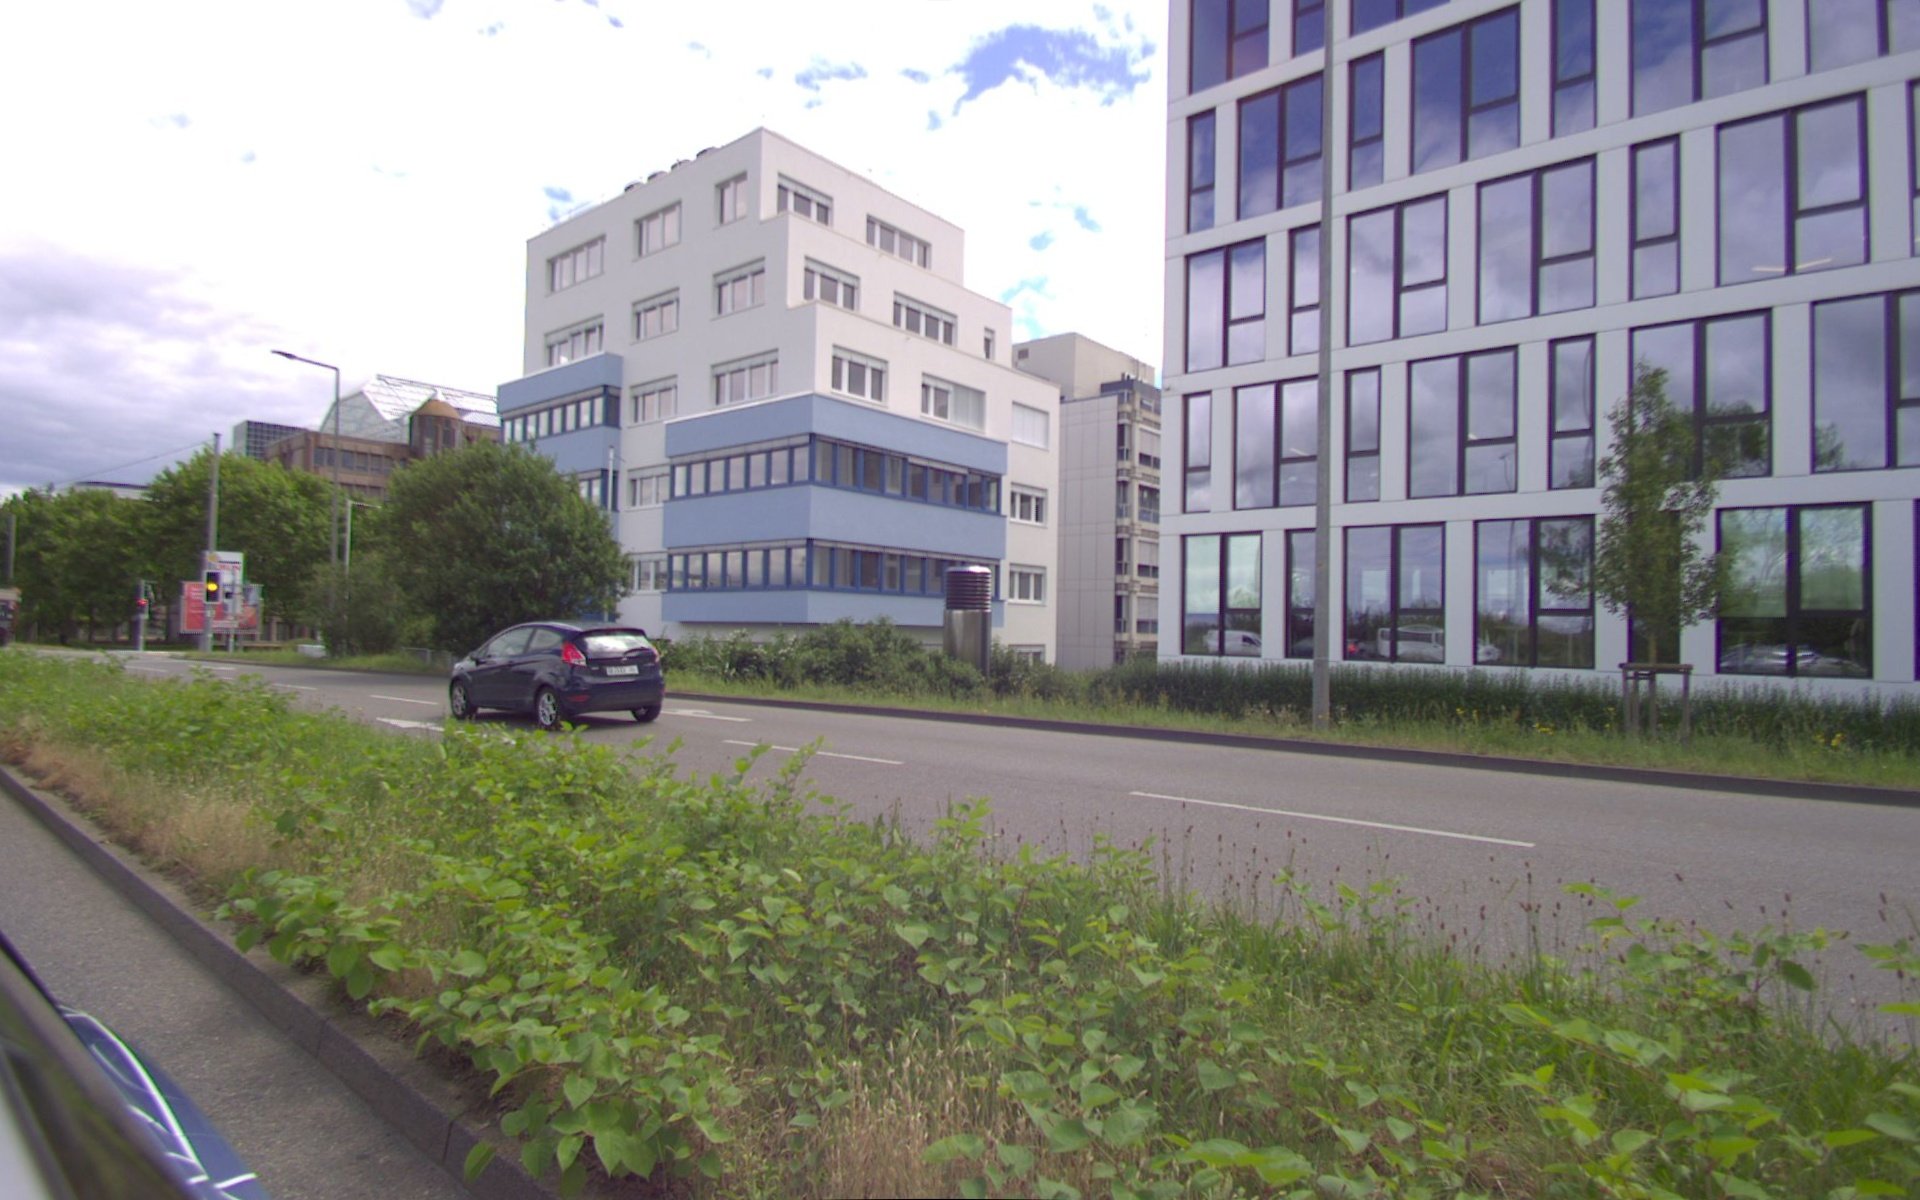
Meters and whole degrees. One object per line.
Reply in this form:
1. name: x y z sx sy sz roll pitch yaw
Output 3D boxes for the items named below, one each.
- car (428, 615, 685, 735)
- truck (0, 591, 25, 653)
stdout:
1. car: -5.914 0.975 14.660 3.886 1.457 1.738 0 0 38
2. truck: -59.216 1.265 60.828 9.519 3.545 3.135 0 -3 40
